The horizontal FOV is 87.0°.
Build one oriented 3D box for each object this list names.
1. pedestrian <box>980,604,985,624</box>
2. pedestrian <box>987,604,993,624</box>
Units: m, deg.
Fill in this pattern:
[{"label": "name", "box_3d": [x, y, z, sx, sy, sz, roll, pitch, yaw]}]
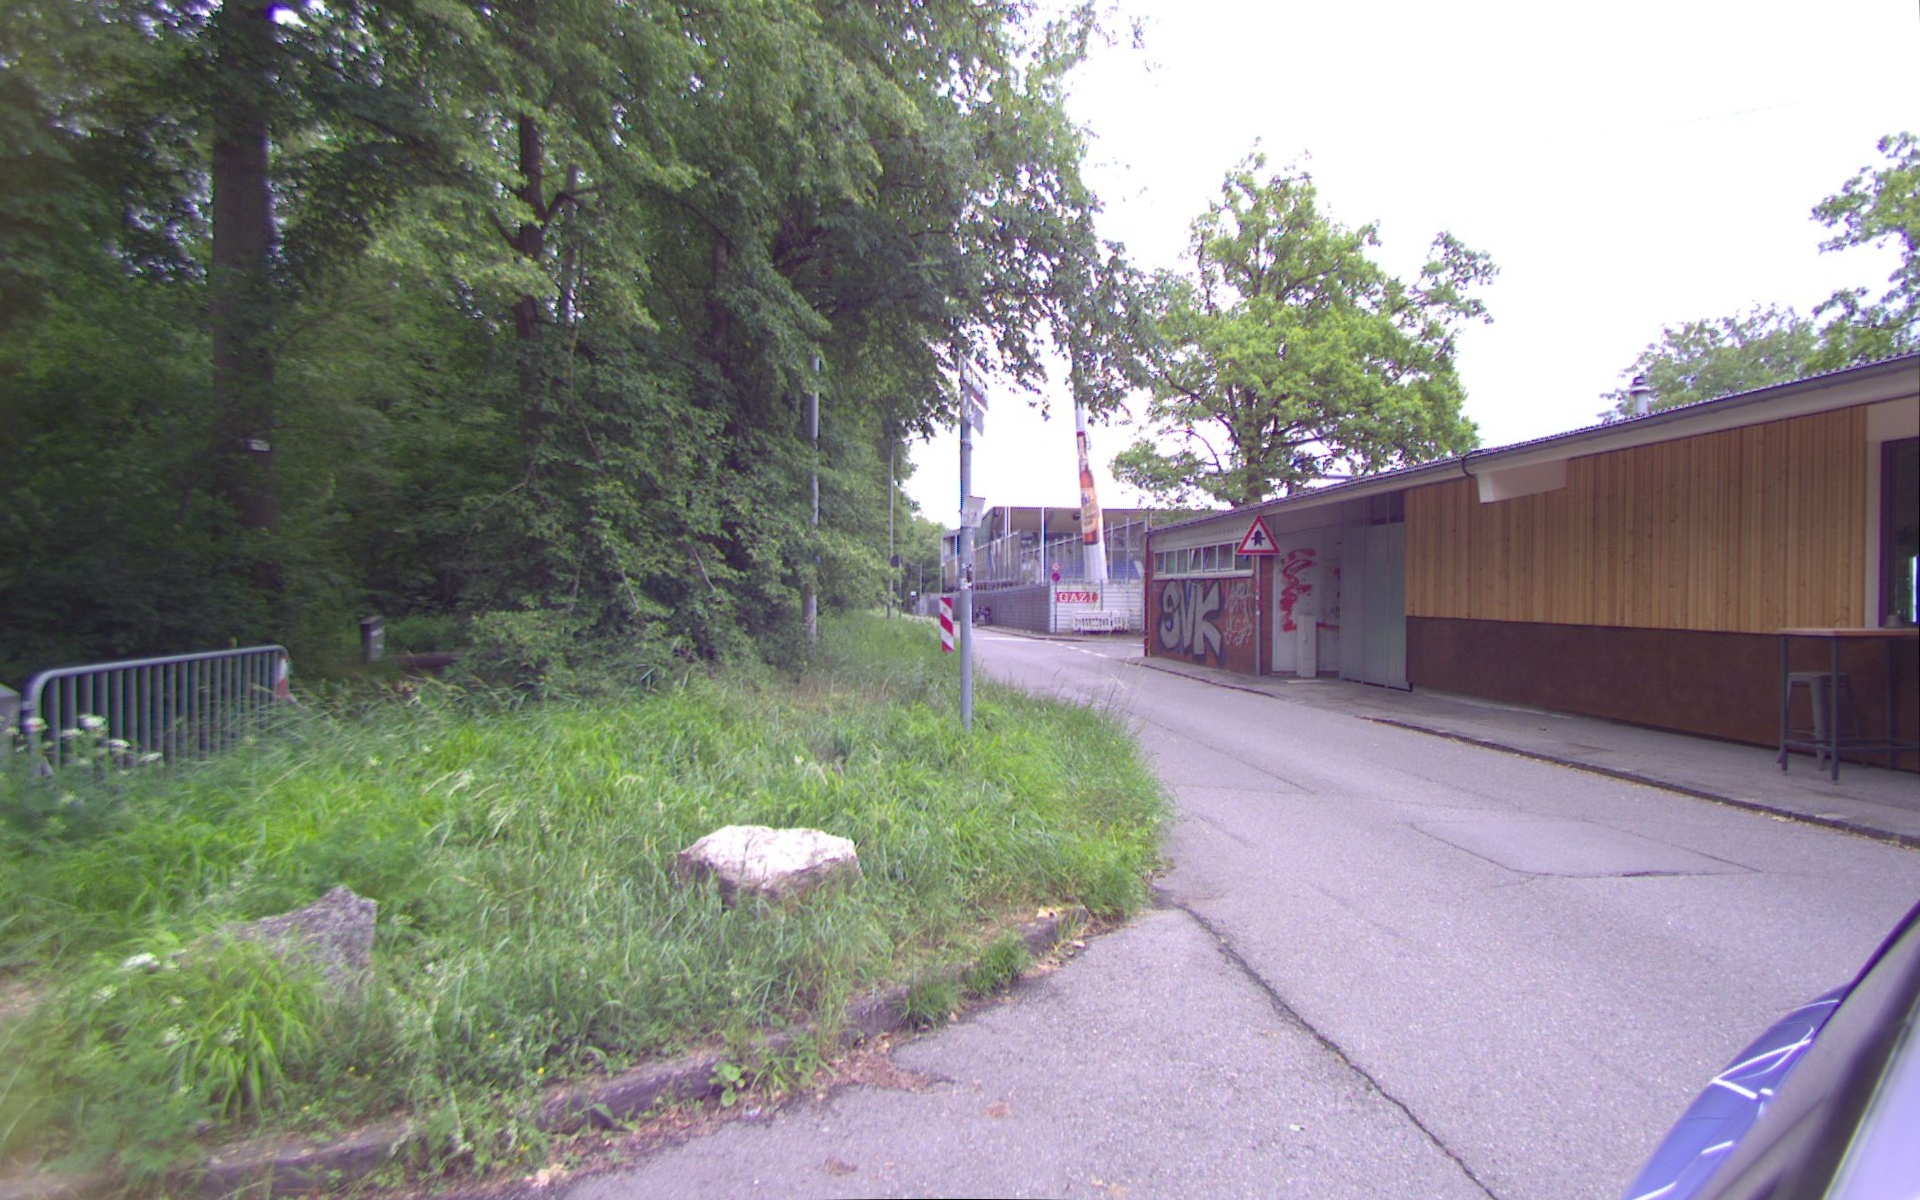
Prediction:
[{"label": "pedestrian", "box_3d": [1.573, 0.979, 70.594, 0.365, 1.404, 0.377, 0, -1, -1]}, {"label": "pedestrian", "box_3d": [2.088, 0.985, 70.610, 0.369, 1.404, 0.406, 0, -1, -1]}]
